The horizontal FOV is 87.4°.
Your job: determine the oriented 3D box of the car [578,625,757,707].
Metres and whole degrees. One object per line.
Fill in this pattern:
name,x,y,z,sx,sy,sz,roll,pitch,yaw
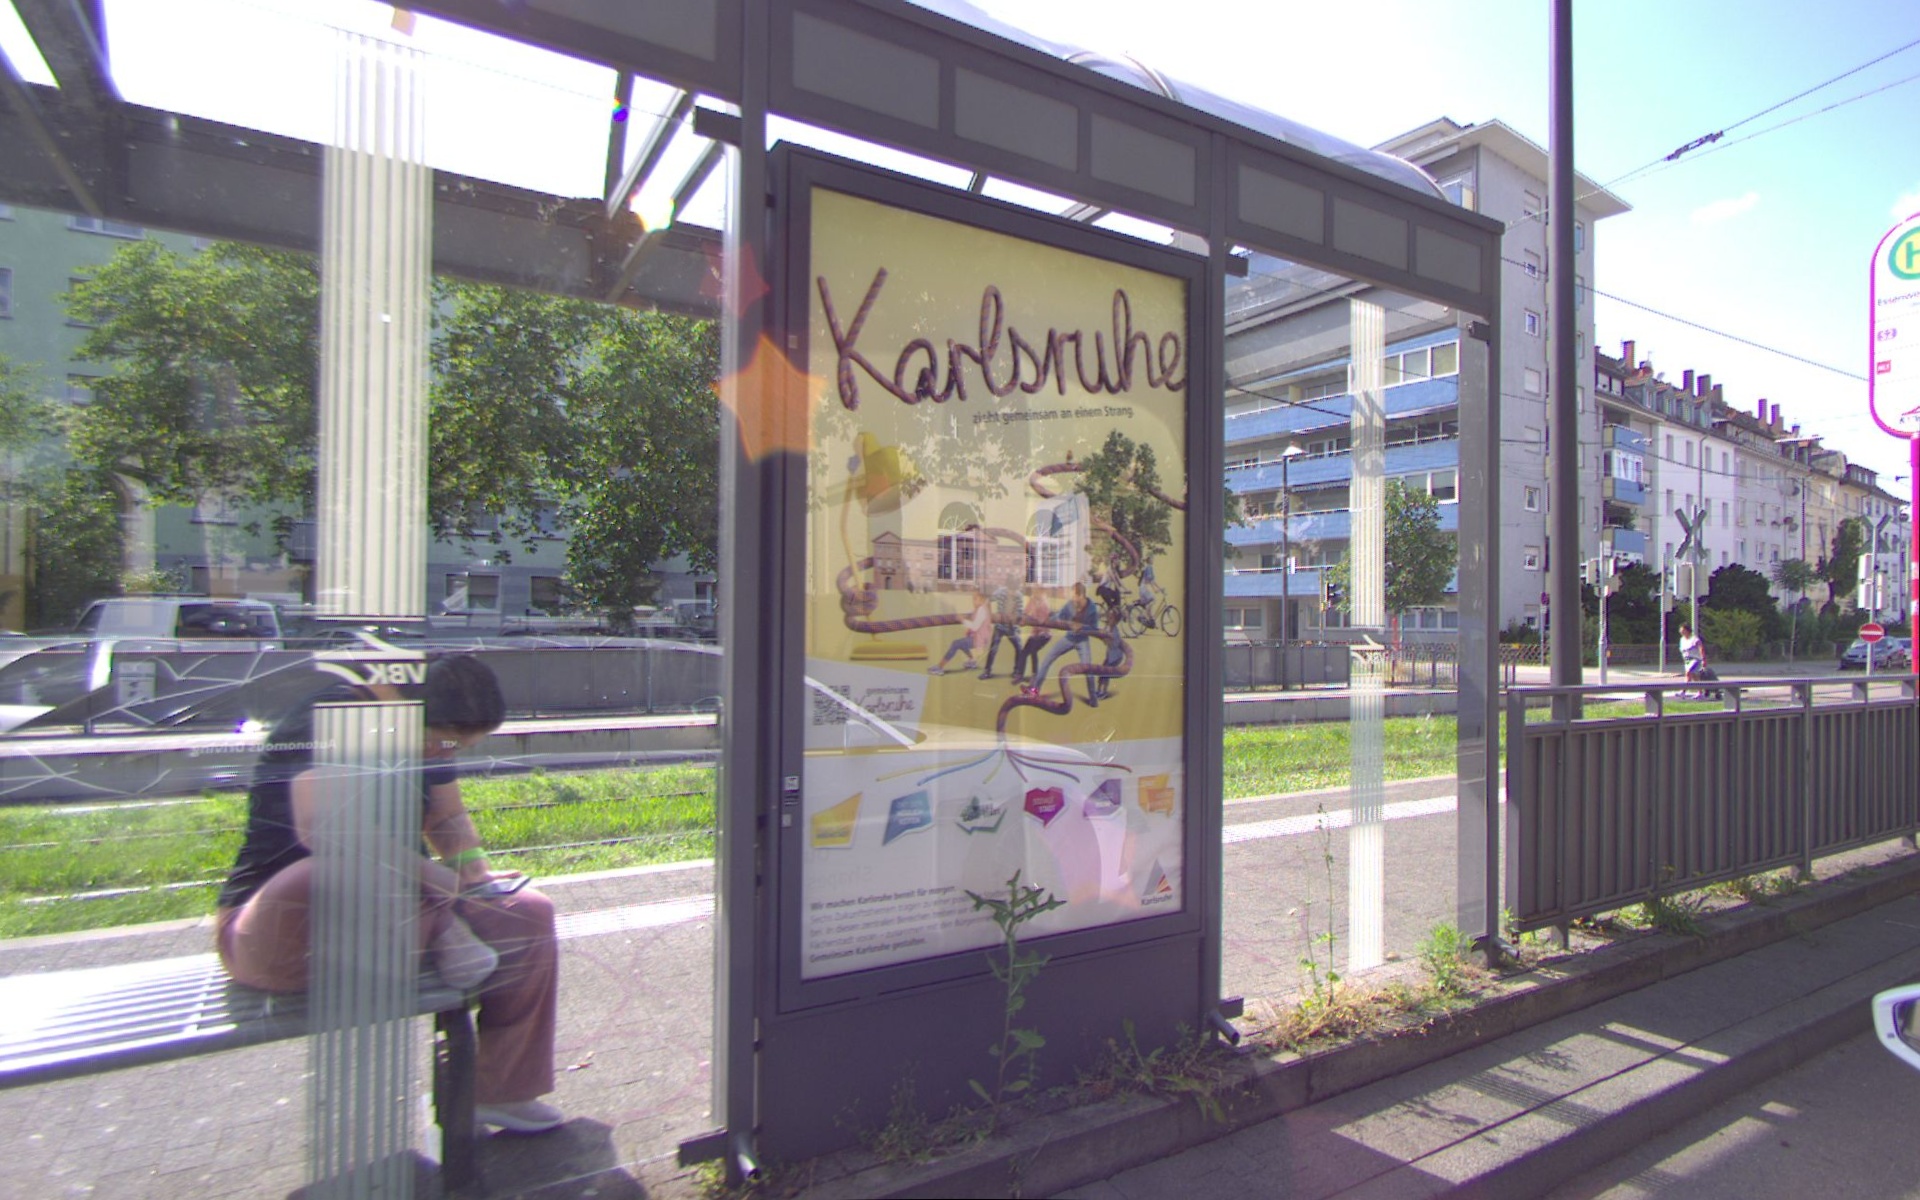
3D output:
car,-6.300,1.353,21.613,3.601,1.600,1.646,0,-1,29

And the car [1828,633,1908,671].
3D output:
car,43.875,2.500,48.519,3.960,1.667,1.981,2,0,-35

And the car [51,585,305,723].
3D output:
car,-13.363,0.854,17.160,3.880,2.097,2.047,0,-1,29

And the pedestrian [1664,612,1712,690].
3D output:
pedestrian,15.888,1.103,21.912,0.625,1.686,0.656,1,-2,-31

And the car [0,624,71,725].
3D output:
car,-16.130,1.137,15.985,3.926,1.505,1.608,0,-1,27

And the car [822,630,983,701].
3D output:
car,-1.417,1.542,24.541,3.601,1.600,1.646,0,-1,29

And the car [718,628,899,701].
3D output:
car,-3.495,1.417,22.997,3.956,1.534,1.606,0,-2,30

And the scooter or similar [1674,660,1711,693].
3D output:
scooter or similar,16.252,1.687,22.289,0.693,0.708,0.440,1,-2,-32

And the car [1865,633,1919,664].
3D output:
car,48.684,2.517,52.055,3.960,1.461,1.757,2,0,-35

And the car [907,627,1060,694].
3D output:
car,0.596,1.510,25.962,3.601,1.600,1.646,0,-1,29

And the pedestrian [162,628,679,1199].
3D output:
pedestrian,-1.053,0.606,2.110,0.709,1.086,0.664,0,-1,4

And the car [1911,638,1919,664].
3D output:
car,56.594,3.004,57.988,3.963,1.461,1.755,2,0,-37

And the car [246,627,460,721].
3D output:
car,-11.523,1.322,19.032,3.879,1.600,1.717,0,-1,28
